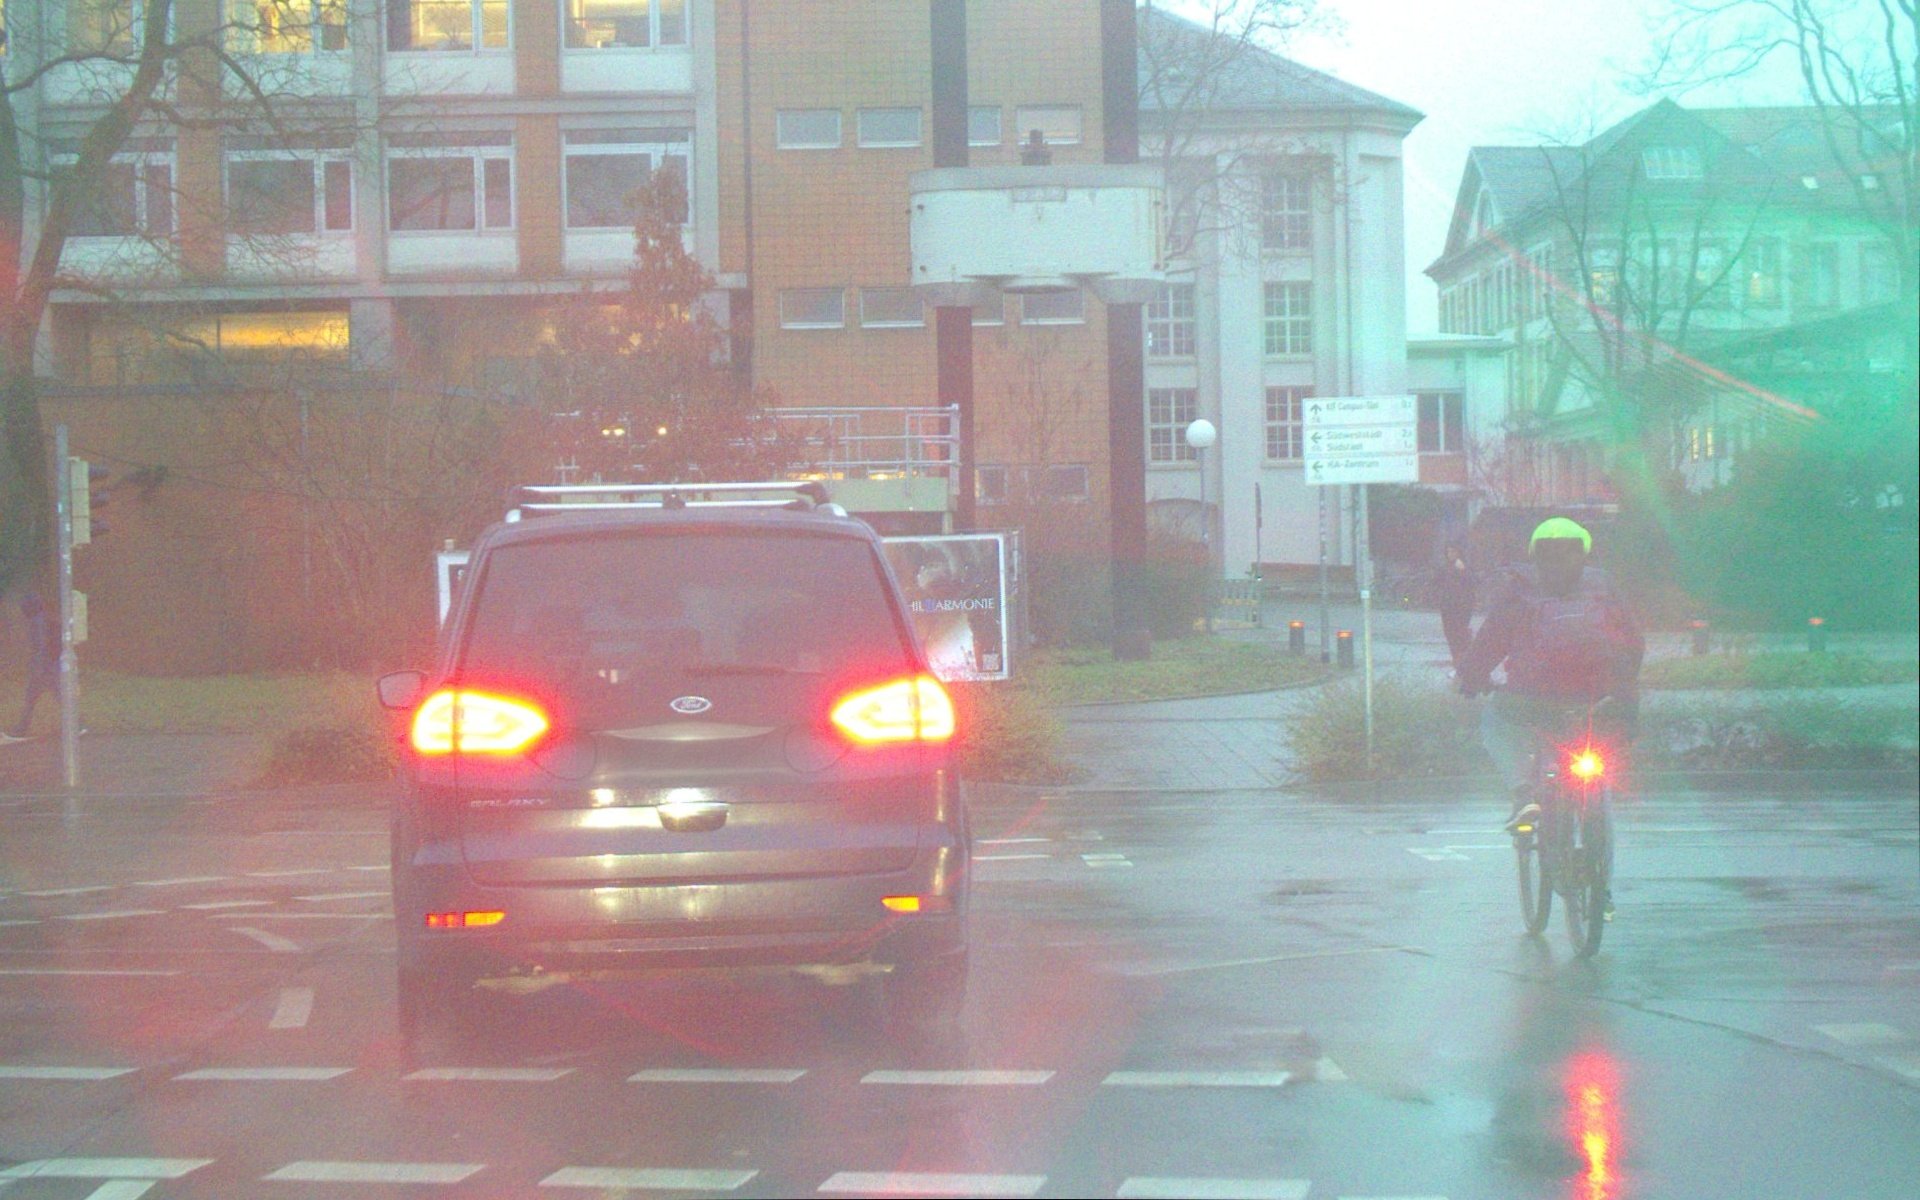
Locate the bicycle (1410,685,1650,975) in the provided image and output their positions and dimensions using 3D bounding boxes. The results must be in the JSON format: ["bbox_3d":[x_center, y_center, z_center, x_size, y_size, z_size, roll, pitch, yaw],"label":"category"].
[{"bbox_3d":[2.213,0.865,13.568,0.561,0.943,2.095,-2,1,0],"label":"bicycle"}]

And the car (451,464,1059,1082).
[{"bbox_3d":[-0.890,0.503,12.319,1.777,1.794,4.425,0,0,-8],"label":"car"}]

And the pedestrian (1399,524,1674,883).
[{"bbox_3d":[2.212,0.382,13.283,0.874,1.312,0.848,-2,1,0],"label":"pedestrian"}]

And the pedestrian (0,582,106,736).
[{"bbox_3d":[-10.412,0.662,38.996,1.068,1.682,0.809,-1,2,20],"label":"pedestrian"}]

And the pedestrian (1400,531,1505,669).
[{"bbox_3d":[6.200,-0.013,43.303,0.925,1.682,0.912,-2,3,-38],"label":"pedestrian"}]
